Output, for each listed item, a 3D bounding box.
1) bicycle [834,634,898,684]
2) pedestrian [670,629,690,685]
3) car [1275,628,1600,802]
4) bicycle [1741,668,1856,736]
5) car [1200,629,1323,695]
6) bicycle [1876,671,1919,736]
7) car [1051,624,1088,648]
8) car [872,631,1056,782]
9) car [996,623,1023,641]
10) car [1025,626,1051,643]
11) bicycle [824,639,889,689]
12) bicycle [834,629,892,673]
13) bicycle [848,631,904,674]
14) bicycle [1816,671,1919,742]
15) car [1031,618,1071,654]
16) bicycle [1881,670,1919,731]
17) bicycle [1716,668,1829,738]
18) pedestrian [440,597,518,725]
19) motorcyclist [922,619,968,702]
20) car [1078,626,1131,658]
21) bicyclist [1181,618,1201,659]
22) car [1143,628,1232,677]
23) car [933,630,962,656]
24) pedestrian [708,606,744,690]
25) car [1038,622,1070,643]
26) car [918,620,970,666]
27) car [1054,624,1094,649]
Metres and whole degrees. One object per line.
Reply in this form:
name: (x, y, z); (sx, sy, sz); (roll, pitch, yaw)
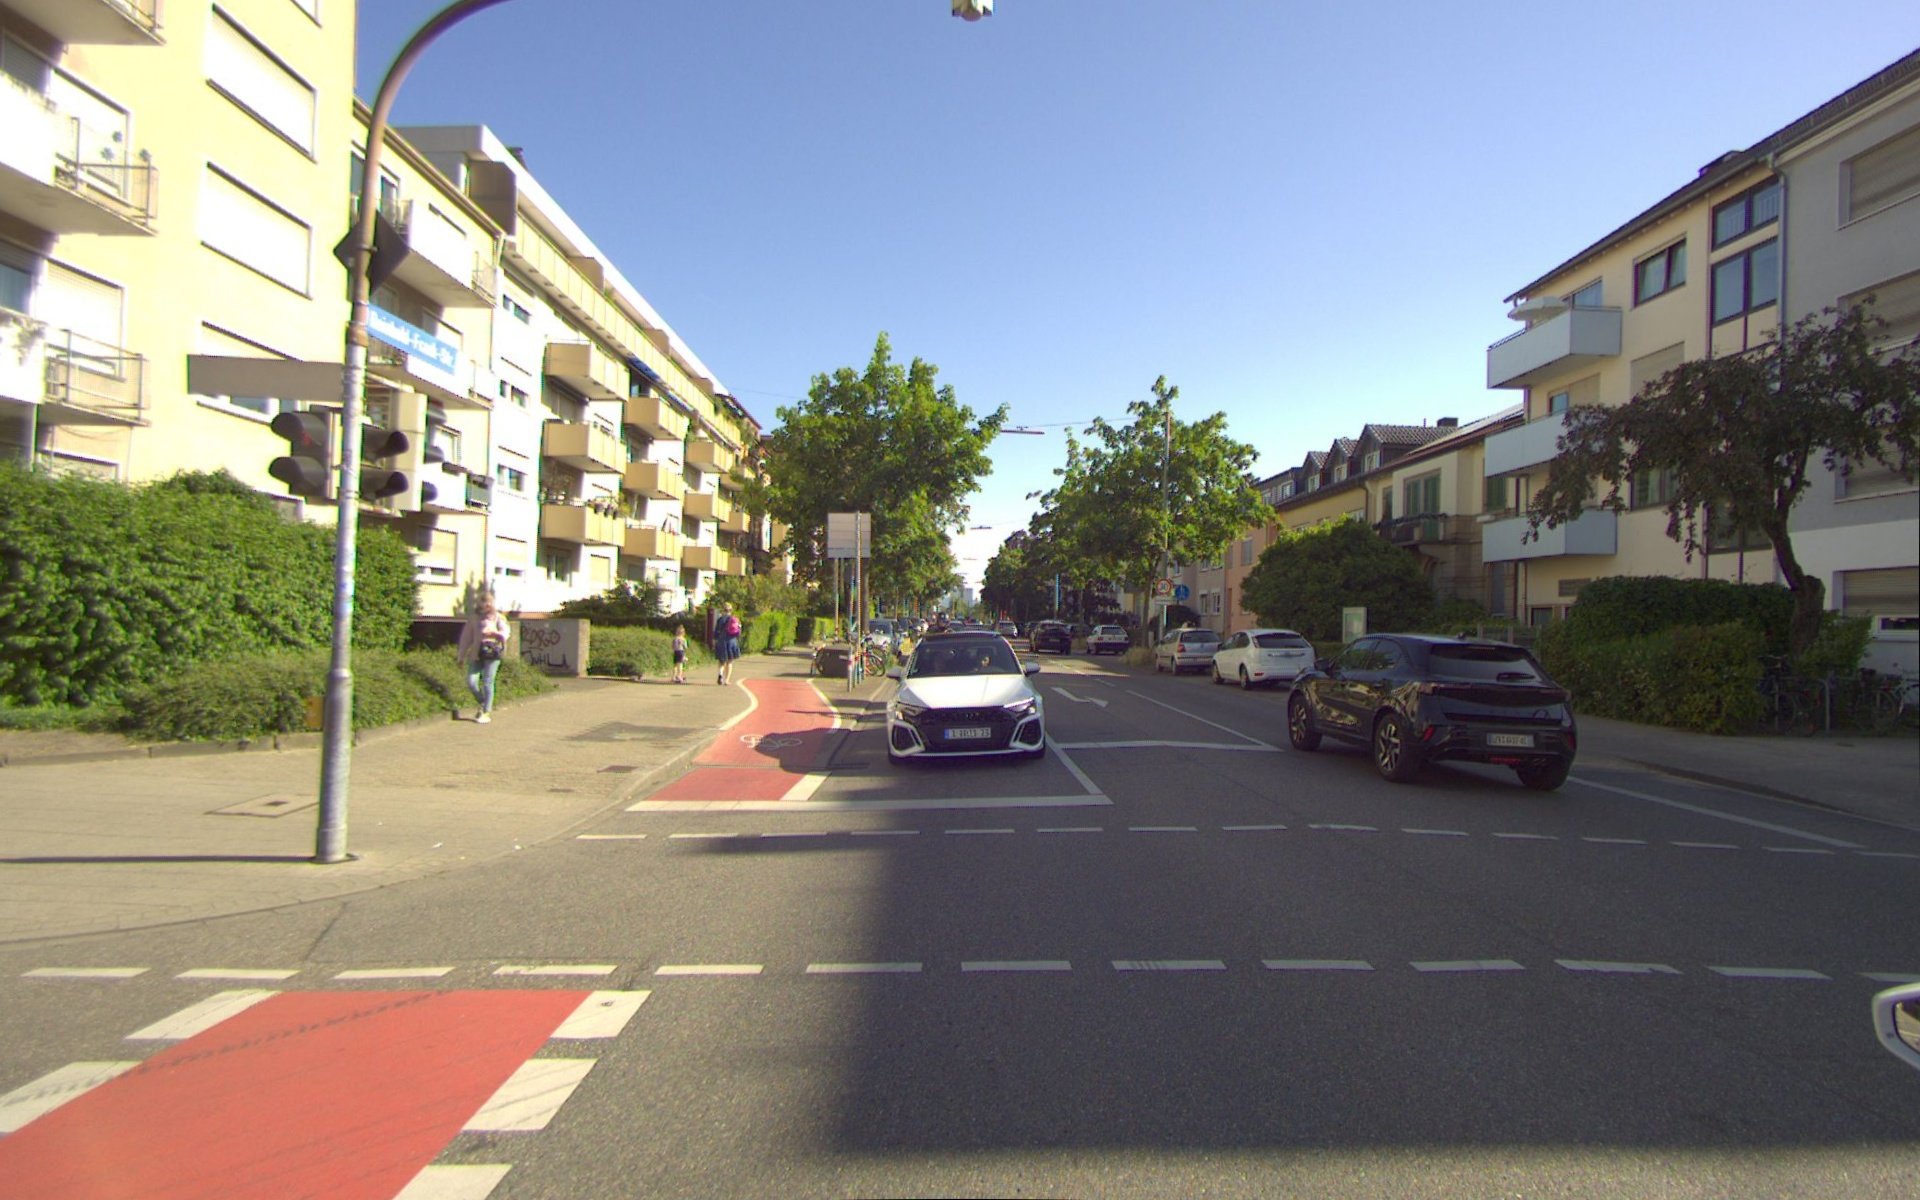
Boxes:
bicycle: (-2.480, 1.548, 26.494); (1.548, 1.177, 0.447); (1, 13, 22)
pedestrian: (-5.956, 1.206, 21.381); (0.380, 1.161, 0.530); (1, -1, -16)
car: (5.152, 1.143, 11.505); (1.733, 1.579, 4.000); (2, -1, -1)
bicycle: (13.207, 1.584, 15.873); (0.502, 0.952, 1.594); (1, -1, 1)
car: (7.631, 1.532, 25.816); (1.878, 1.539, 4.000); (0, -1, -2)
bicycle: (14.775, 1.591, 15.144); (0.502, 0.952, 1.594); (1, -1, 1)
car: (7.256, 2.370, 66.656); (1.878, 1.449, 4.000); (-1, -1, -2)
car: (0.078, 1.195, 12.815); (1.896, 1.455, 4.268); (-2, -1, 1)
car: (4.158, 2.690, 84.701); (1.807, 1.452, 4.175); (1, -1, -3)
car: (6.844, 3.027, 88.612); (1.878, 1.449, 4.000); (-1, -1, -2)
bicycle: (-2.687, 1.654, 26.029); (1.548, 1.177, 0.447); (1, 13, 22)
bicycle: (-2.844, 1.489, 29.419); (1.548, 1.175, 0.448); (1, -9, 22)
bicycle: (-2.488, 1.555, 29.722); (1.548, 1.175, 0.448); (1, -9, 22)
bicycle: (13.933, 1.587, 15.263); (0.502, 0.952, 1.594); (1, -1, 1)
car: (4.353, 1.741, 48.560); (1.565, 1.586, 4.090); (2, -2, 1)
bicycle: (15.508, 1.612, 15.849); (0.502, 0.952, 1.594); (1, -1, 1)
bicycle: (12.591, 1.574, 15.622); (0.502, 0.952, 1.594); (1, -1, 1)
pedestrian: (-6.285, 0.789, 13.157); (0.683, 1.617, 0.648); (1, -1, -3)
motorcyclist: (-0.249, 1.014, 17.099); (0.742, 1.374, 0.792); (-1, -1, 2)
car: (7.062, 2.050, 49.434); (1.878, 1.449, 4.000); (-1, -1, -2)
bicyclist: (9.034, 1.486, 39.313); (0.544, 1.569, 0.814); (1, 0, -2)
car: (7.335, 1.651, 32.814); (1.878, 1.449, 4.000); (-1, -1, -2)
car: (-0.757, 2.709, 63.954); (1.779, 1.579, 4.249); (-1, -1, 0)
pedestrian: (-4.889, 0.995, 20.999); (0.564, 1.705, 0.968); (1, -1, -5)
car: (6.834, 2.357, 73.256); (1.878, 1.449, 4.000); (-1, -1, -2)
car: (-0.549, 1.543, 36.919); (1.779, 1.579, 4.249); (-1, -1, 0)
car: (6.983, 2.189, 61.706); (1.878, 1.449, 4.000); (-1, -1, -2)
